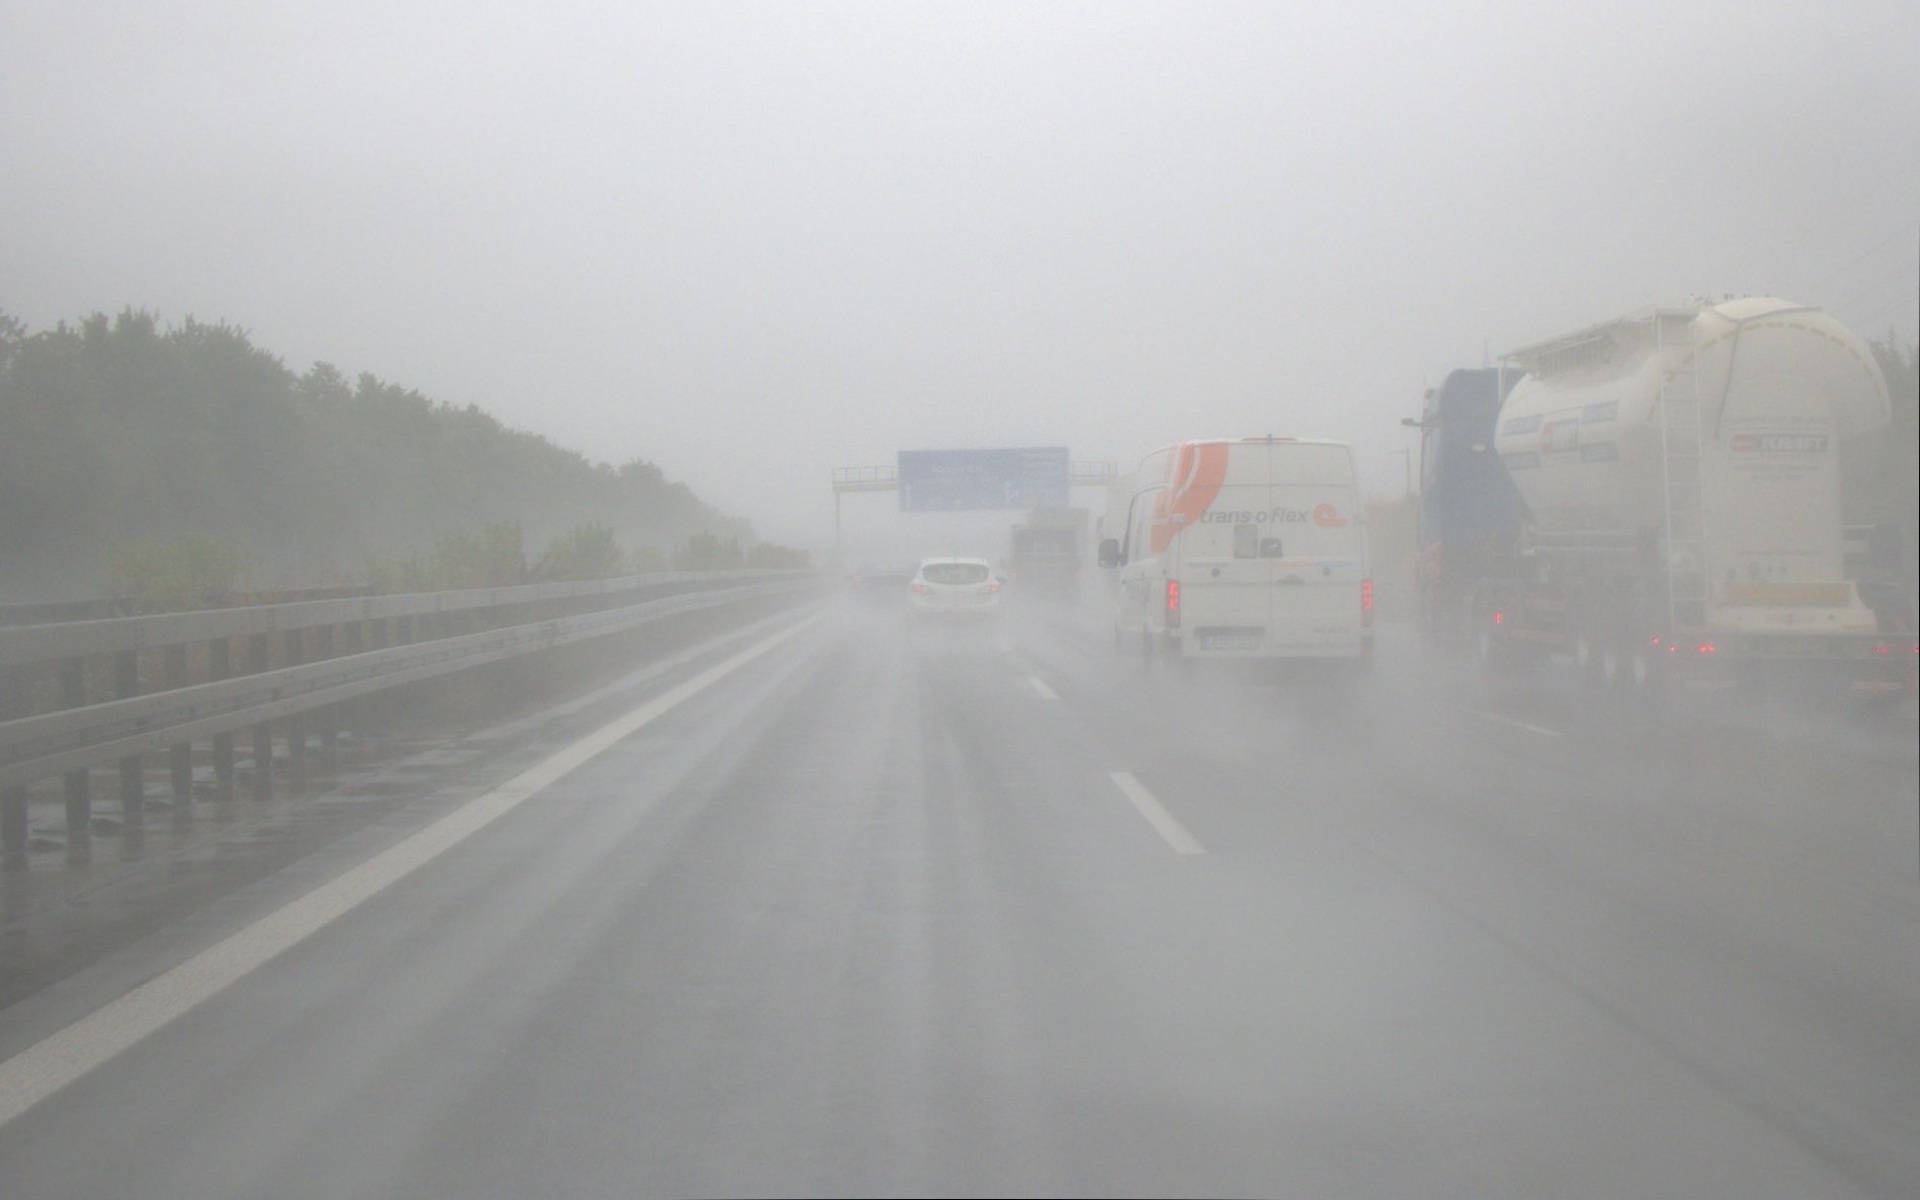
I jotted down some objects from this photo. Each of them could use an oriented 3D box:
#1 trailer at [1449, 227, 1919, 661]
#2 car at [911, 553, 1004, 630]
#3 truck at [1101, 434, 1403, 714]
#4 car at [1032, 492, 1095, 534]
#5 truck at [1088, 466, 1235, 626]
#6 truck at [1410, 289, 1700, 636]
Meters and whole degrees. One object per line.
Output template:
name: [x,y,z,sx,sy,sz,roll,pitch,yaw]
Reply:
trailer: [7.393,-1.504,36.433,2.497,3.869,11.068,1,1,-2]
car: [-0.073,-0.179,62.878,1.605,1.333,3.849,1,1,-1]
truck: [2.726,-0.285,33.586,2.419,2.484,5.560,1,1,0]
car: [4.980,-4.203,166.785,2.788,2.007,4.993,1,1,-1]
truck: [6.098,-1.584,106.992,3.039,4.572,16.352,1,0,-2]
truck: [7.201,-1.634,42.218,2.496,3.970,5.076,1,1,-2]
